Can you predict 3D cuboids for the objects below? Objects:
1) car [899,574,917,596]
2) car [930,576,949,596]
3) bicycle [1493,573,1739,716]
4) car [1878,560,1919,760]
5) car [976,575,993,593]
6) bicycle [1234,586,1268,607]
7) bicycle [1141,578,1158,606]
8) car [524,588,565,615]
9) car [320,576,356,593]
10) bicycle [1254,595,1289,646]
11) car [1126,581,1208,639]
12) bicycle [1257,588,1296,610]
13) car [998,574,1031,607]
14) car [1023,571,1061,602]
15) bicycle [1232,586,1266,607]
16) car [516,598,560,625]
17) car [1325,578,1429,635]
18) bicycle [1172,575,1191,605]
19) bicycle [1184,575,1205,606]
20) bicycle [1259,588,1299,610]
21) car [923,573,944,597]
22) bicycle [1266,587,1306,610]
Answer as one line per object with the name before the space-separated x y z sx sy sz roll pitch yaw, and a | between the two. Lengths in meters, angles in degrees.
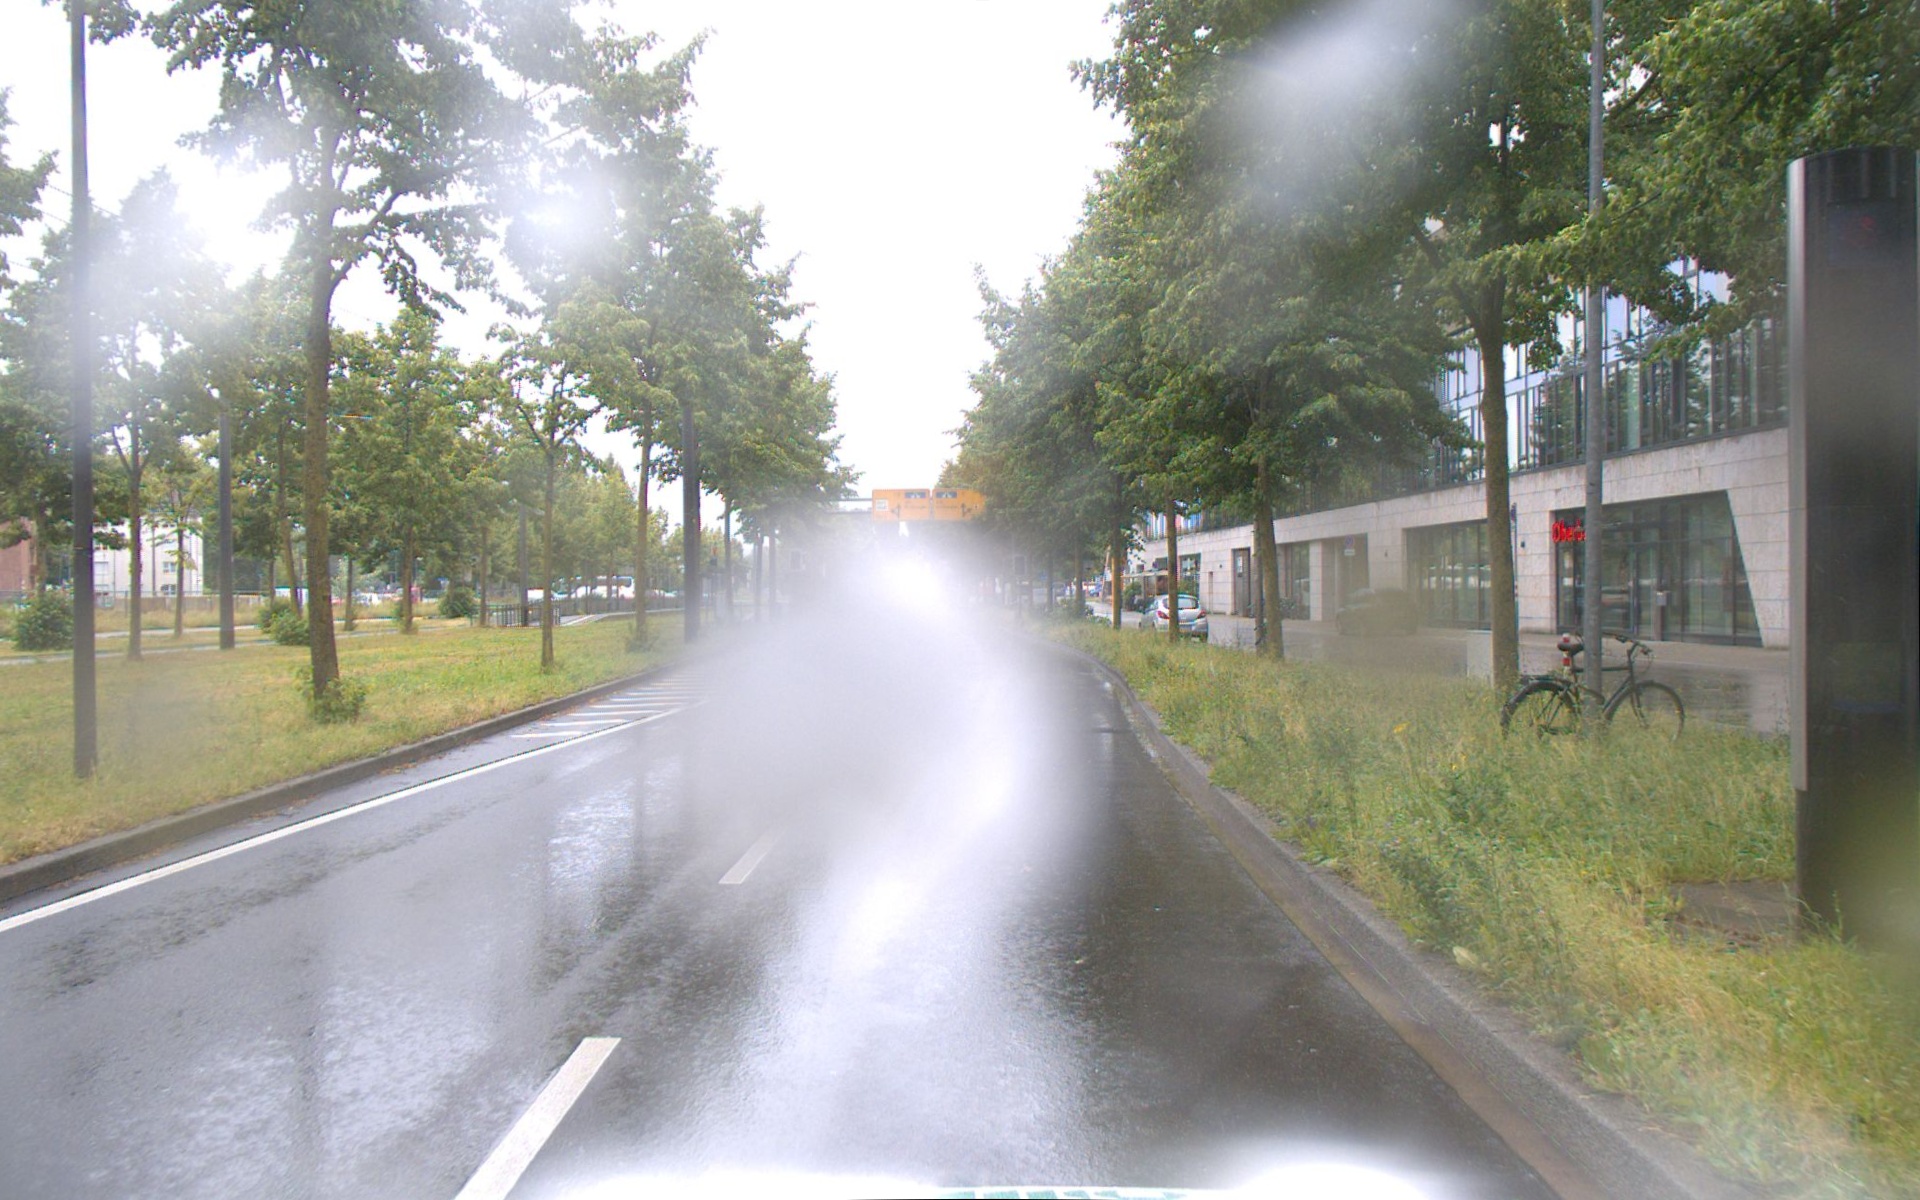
car | -5.396 -1.549 171.796 1.850 2.048 4.000 -1 3 -2
car | -2.296 -1.631 187.040 1.952 2.048 4.002 -1 3 2
bicycle | 5.812 0.388 14.688 1.994 1.217 0.491 -1 0 -3
car | 8.192 0.520 11.424 1.592 1.516 3.655 -1 3 -2
car | 3.042 -1.937 202.893 1.953 2.048 4.001 -1 3 -1
bicycle | 14.785 -0.194 84.053 1.659 1.046 0.423 -1 0 0
bicycle | 12.802 -0.553 111.939 0.632 1.752 3.119 -1 3 -3
car | -23.156 0.114 92.302 1.459 1.320 4.971 -2 -2 -5
car | -68.347 -1.717 181.729 3.488 1.768 1.692 -2 3 -26
bicycle | 5.818 0.371 30.926 0.335 0.836 1.903 -1 3 1
car | 6.489 0.275 52.228 1.843 1.532 4.723 -1 3 -2
bicycle | 15.156 -0.059 79.178 1.769 1.046 0.541 -1 0 0
car | 3.904 -0.671 119.581 2.078 2.313 4.562 -1 1 -2
car | 4.987 -0.832 101.092 1.868 1.822 4.686 -1 1 -2
bicycle | 14.764 -0.185 84.563 1.659 1.046 0.423 -1 0 0
car | -23.500 0.605 92.170 1.518 1.288 4.849 -1 2 -4
car | 13.419 0.166 53.531 1.953 1.526 5.034 -5 2 0
bicycle | 13.623 -0.627 101.944 0.632 1.752 3.119 -1 3 -3
bicycle | 14.404 -0.622 101.667 0.757 1.752 3.119 -1 3 -3
bicycle | 15.146 -0.059 78.571 1.769 1.046 0.541 -1 0 0
car | -2.512 -1.398 154.077 1.901 2.048 4.000 -1 3 -2
bicycle | 15.225 -0.081 77.296 1.769 1.046 0.401 -1 0 0
